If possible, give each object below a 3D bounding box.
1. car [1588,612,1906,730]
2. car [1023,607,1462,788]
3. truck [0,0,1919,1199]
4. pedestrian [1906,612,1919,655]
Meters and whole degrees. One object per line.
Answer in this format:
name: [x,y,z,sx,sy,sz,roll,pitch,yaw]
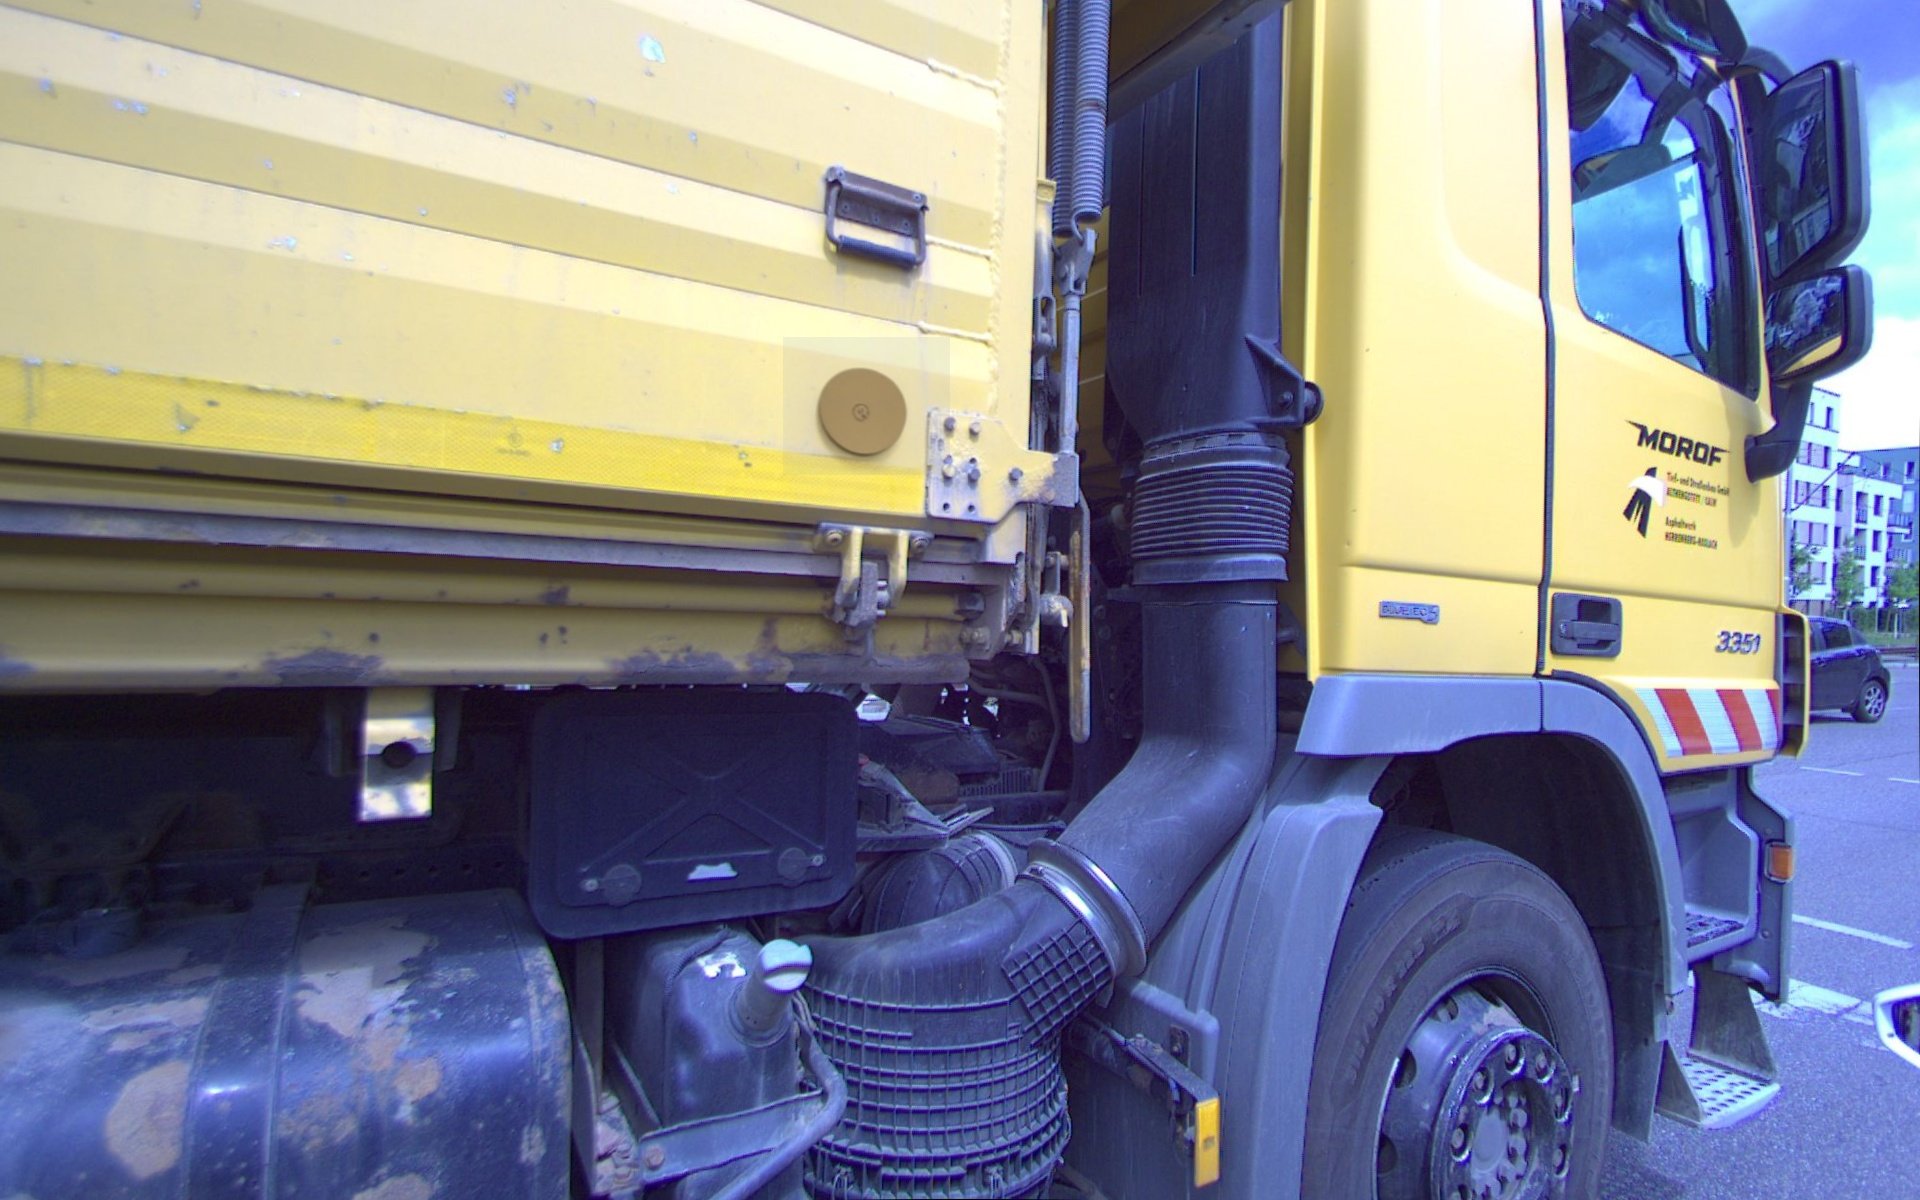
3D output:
car: [11.277,0.944,14.430,3.982,1.489,1.775,1,0,-20]
car: [2.874,0.828,10.020,4.226,1.460,1.754,1,0,-30]
truck: [-1.547,-0.027,1.589,7.688,3.043,2.707,2,0,-30]
pedestrian: [35.842,1.252,37.191,0.834,1.607,0.796,2,0,1]
